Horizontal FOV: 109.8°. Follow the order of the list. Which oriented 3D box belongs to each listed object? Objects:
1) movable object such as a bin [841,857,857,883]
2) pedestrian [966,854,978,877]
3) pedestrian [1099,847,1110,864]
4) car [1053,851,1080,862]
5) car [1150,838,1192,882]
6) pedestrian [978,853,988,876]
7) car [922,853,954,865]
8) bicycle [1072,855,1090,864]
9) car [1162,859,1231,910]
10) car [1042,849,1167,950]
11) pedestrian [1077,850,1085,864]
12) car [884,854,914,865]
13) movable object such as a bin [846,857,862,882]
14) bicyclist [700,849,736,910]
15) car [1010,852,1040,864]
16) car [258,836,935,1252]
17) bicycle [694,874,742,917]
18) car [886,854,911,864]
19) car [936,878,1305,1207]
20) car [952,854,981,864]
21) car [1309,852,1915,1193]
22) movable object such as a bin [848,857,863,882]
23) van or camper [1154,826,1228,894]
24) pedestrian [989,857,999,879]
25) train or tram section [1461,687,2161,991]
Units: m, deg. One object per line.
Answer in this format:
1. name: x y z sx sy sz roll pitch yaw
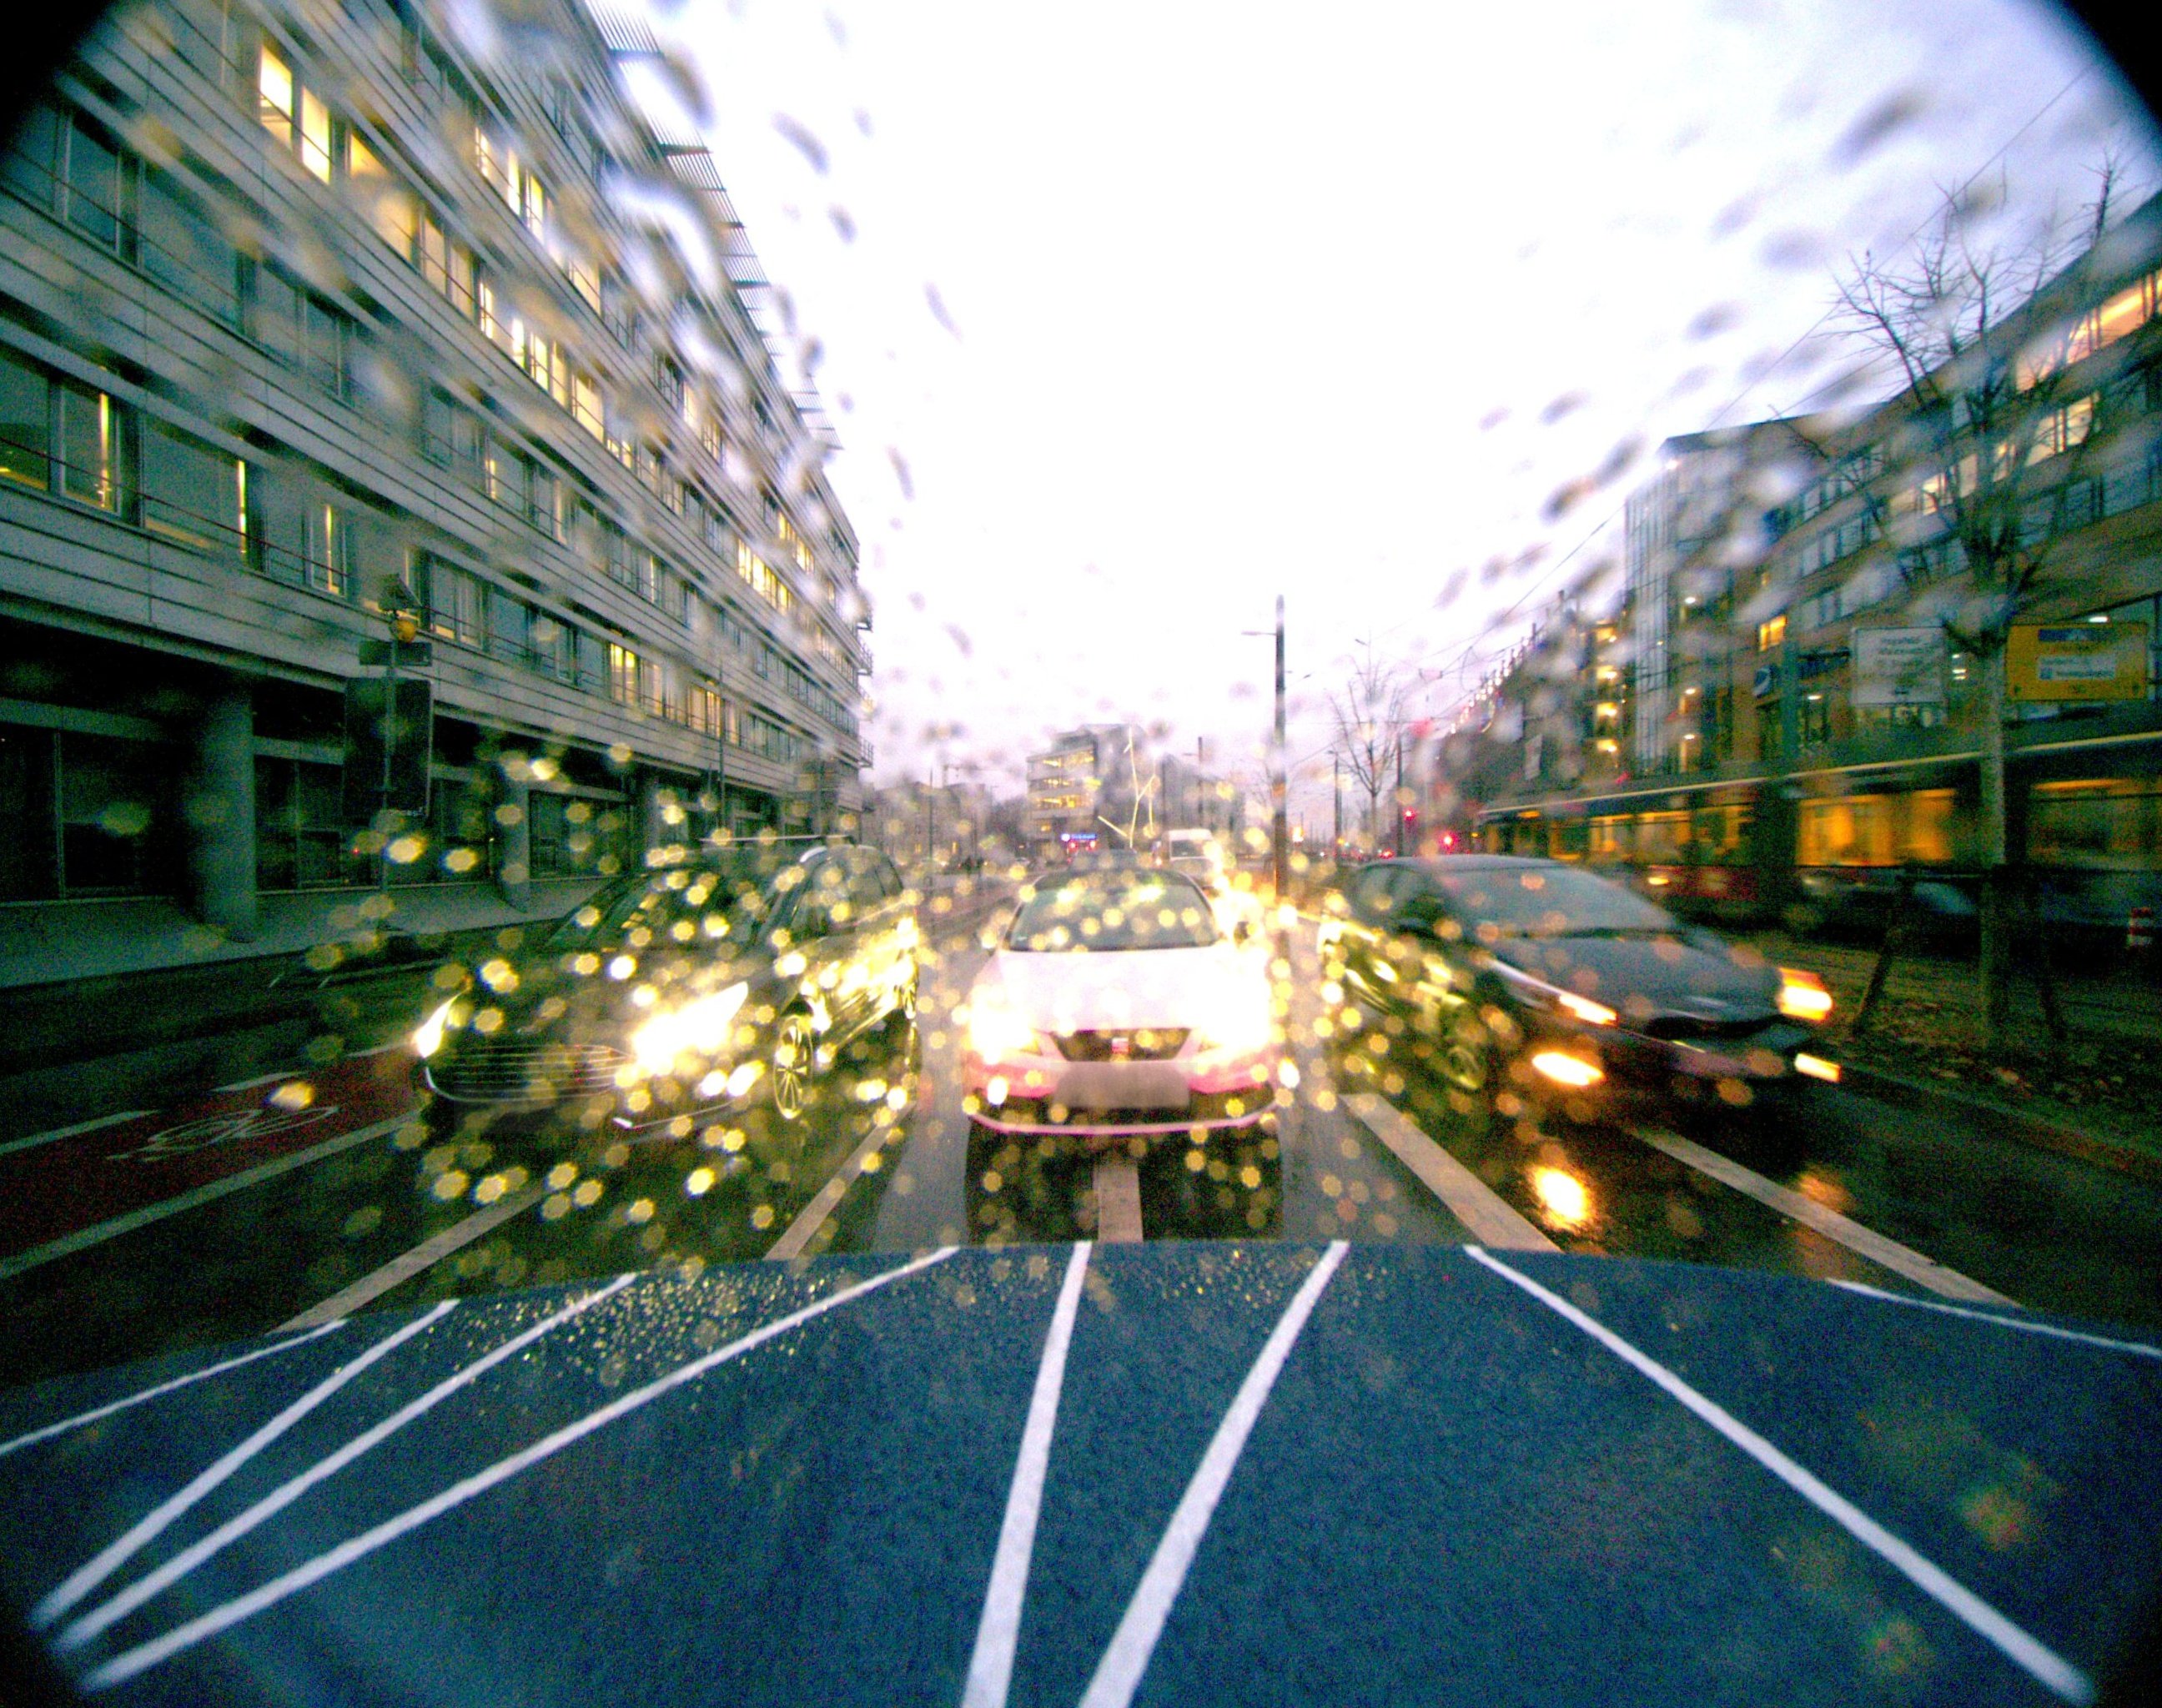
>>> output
1. movable object such as a bin: -13.248 0.908 43.399 0.666 1.420 0.840 -1 1 -2
2. pedestrian: -8.312 0.854 58.012 0.747 1.692 0.969 2 1 -3
3. pedestrian: 2.732 0.179 89.199 1.118 2.002 1.034 0 1 15
4. car: -2.319 0.428 123.178 4.021 1.645 1.905 -1 0 17
5. car: 6.156 0.388 52.837 2.129 2.847 5.812 -1 0 -1
6. pedestrian: -7.377 0.799 57.483 0.651 1.692 0.884 1 1 -3
7. car: -21.391 0.712 113.728 4.368 1.750 2.002 -1 1 17
8. bicycle: 0.045 0.684 94.980 2.203 1.182 0.668 0 1 7
9. car: 3.604 0.909 24.318 1.759 1.337 4.056 -1 2 3
10. car: 0.427 0.792 15.696 2.169 1.744 4.542 -1 0 0
11. pedestrian: 0.018 0.394 94.962 0.892 1.783 0.668 0 1 6
12. car: -27.830 0.835 116.088 3.996 1.663 2.002 -1 1 17
13. movable object such as a bin: -13.243 0.921 44.296 0.666 1.420 0.840 -1 1 -2
14. bicyclist: -10.746 0.740 22.512 0.671 1.788 0.806 0 1 -3
15. car: -8.125 0.531 109.506 3.918 1.699 1.782 -1 1 15
16. car: -2.606 0.846 5.702 1.887 1.800 4.671 -2 0 2
17. bicycle: -10.761 1.211 22.585 0.681 1.191 1.760 0 1 -3
18. car: -31.711 0.879 131.973 3.725 1.796 1.796 -1 0 17
19. car: 0.218 0.985 5.683 1.782 1.464 3.943 -1 0 1
20. car: -16.915 0.715 112.240 3.759 1.528 1.782 0 0 17
21. car: 3.060 0.784 5.501 1.634 1.514 3.941 -2 0 1
22. movable object such as a bin: -13.407 0.926 45.226 0.666 1.468 0.840 -1 1 -2
23. van or camper: 4.433 0.215 31.571 2.153 2.517 5.898 -1 0 0
24. pedestrian: -6.602 1.072 57.618 0.616 1.659 0.884 1 1 -3
25. train or tram section: 14.460 -0.233 16.527 2.871 3.593 20.071 0 0 2
